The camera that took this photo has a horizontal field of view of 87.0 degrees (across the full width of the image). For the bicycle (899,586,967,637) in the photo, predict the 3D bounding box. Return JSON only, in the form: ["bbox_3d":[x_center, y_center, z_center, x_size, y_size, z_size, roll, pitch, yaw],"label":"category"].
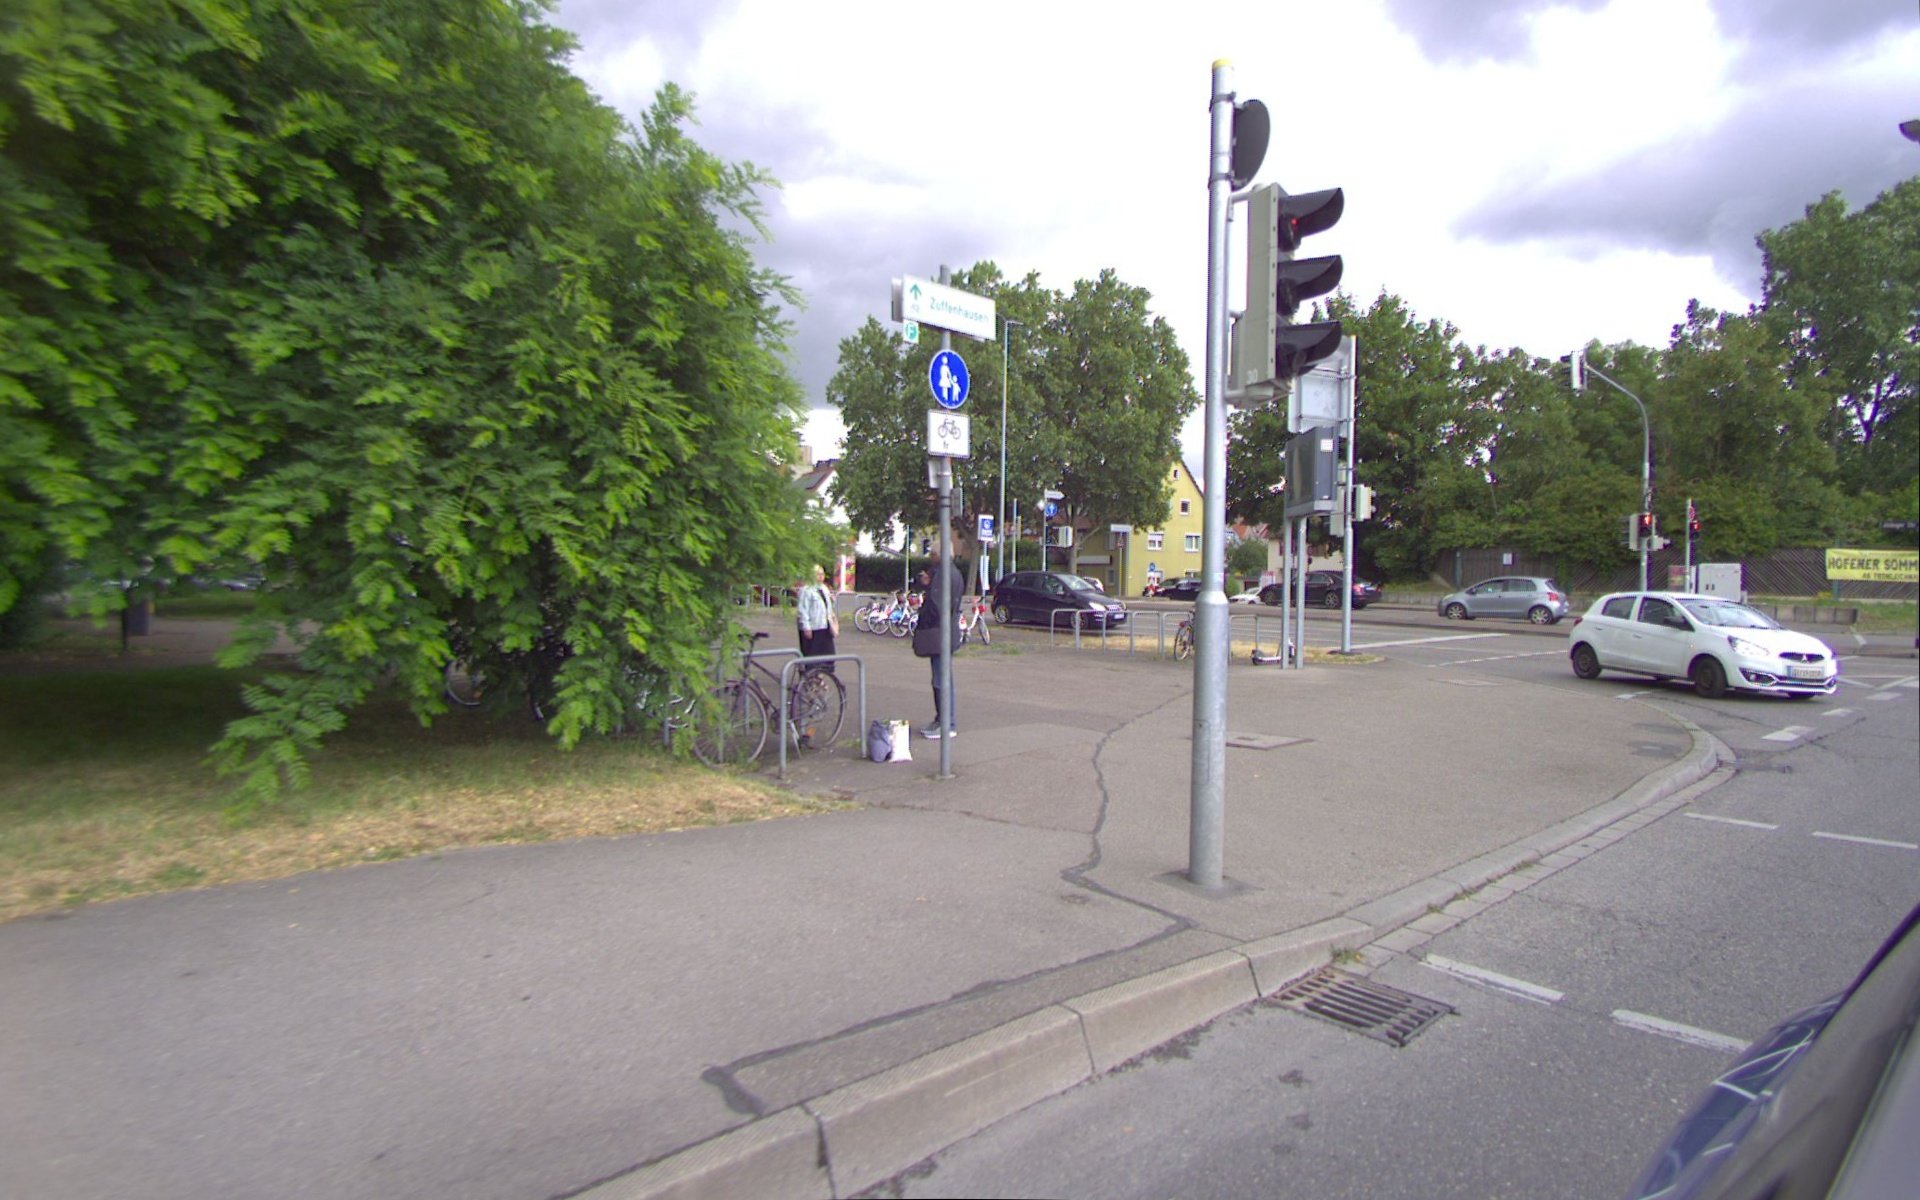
[{"bbox_3d":[-0.634,0.247,24.481,0.580,1.129,1.788,4,4,41],"label":"bicycle"}]

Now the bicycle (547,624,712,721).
[{"bbox_3d":[-3.180,0.670,9.841,0.476,0.818,1.491,0,1,43],"label":"bicycle"}]

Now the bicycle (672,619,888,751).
[{"bbox_3d":[-1.413,0.635,8.261,0.522,0.917,1.826,3,1,38],"label":"bicycle"}]

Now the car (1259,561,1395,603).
[{"bbox_3d":[14.561,-0.767,40.462,1.796,1.468,4.999,0,4,-34],"label":"car"}]

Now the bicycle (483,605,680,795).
[{"bbox_3d":[-2.401,0.543,6.278,0.535,0.936,1.871,2,1,-40],"label":"bicycle"}]

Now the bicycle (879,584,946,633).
[{"bbox_3d":[-1.158,0.185,25.051,0.580,1.129,1.788,4,4,41],"label":"bicycle"}]

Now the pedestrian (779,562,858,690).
[{"bbox_3d":[-1.785,0.297,12.738,0.659,1.532,0.754,-1,3,-41],"label":"pedestrian"}]

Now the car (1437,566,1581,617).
[{"bbox_3d":[17.531,-0.309,32.403,3.776,1.506,1.651,2,2,43],"label":"car"}]

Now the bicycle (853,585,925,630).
[{"bbox_3d":[-1.784,0.179,25.636,1.853,1.064,0.597,-1,4,-44],"label":"bicycle"}]

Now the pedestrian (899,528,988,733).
[{"bbox_3d":[-0.147,0.258,9.116,0.676,1.775,0.420,-1,1,-29],"label":"pedestrian"}]

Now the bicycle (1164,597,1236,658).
[{"bbox_3d":[4.571,0.491,19.201,0.605,1.058,1.675,2,2,41],"label":"bicycle"}]

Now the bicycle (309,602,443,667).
[{"bbox_3d":[-8.465,0.479,14.724,0.476,0.867,1.632,0,1,43],"label":"bicycle"}]

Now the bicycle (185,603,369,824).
[{"bbox_3d":[-3.651,0.509,5.555,0.579,0.951,2.047,0,1,-27],"label":"bicycle"}]

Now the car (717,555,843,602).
[{"bbox_3d":[-6.646,-0.814,37.317,4.472,1.637,1.877,2,2,31],"label":"car"}]

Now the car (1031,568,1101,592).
[{"bbox_3d":[6.120,-1.168,58.375,3.729,1.337,1.813,0,1,-33],"label":"car"}]

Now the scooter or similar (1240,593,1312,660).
[{"bbox_3d":[5.661,0.459,18.126,1.209,1.125,0.654,-1,2,-39],"label":"scooter or similar"}]

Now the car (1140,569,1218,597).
[{"bbox_3d":[13.534,-1.043,62.492,4.497,1.673,1.815,0,1,-26],"label":"car"}]

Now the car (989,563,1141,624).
[{"bbox_3d":[2.977,-0.237,29.246,4.170,1.549,1.697,2,5,41],"label":"car"}]

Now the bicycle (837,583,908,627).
[{"bbox_3d":[-2.249,0.109,26.137,1.853,1.064,0.597,-1,4,-44],"label":"bicycle"}]

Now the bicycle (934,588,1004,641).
[{"bbox_3d":[0.229,0.318,23.430,0.580,1.129,1.788,4,4,41],"label":"bicycle"}]

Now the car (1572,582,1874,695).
[{"bbox_3d":[11.366,0.486,15.424,1.641,1.466,3.609,0,2,-5],"label":"car"}]

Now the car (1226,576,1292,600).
[{"bbox_3d":[19.294,-0.783,65.289,3.798,1.415,1.667,0,3,-22],"label":"car"}]

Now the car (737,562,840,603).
[{"bbox_3d":[-6.327,-0.657,37.199,3.620,1.450,1.773,1,2,37],"label":"car"}]

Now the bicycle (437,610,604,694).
[{"bbox_3d":[-4.999,0.565,11.598,0.476,0.867,1.712,0,1,43],"label":"bicycle"}]
